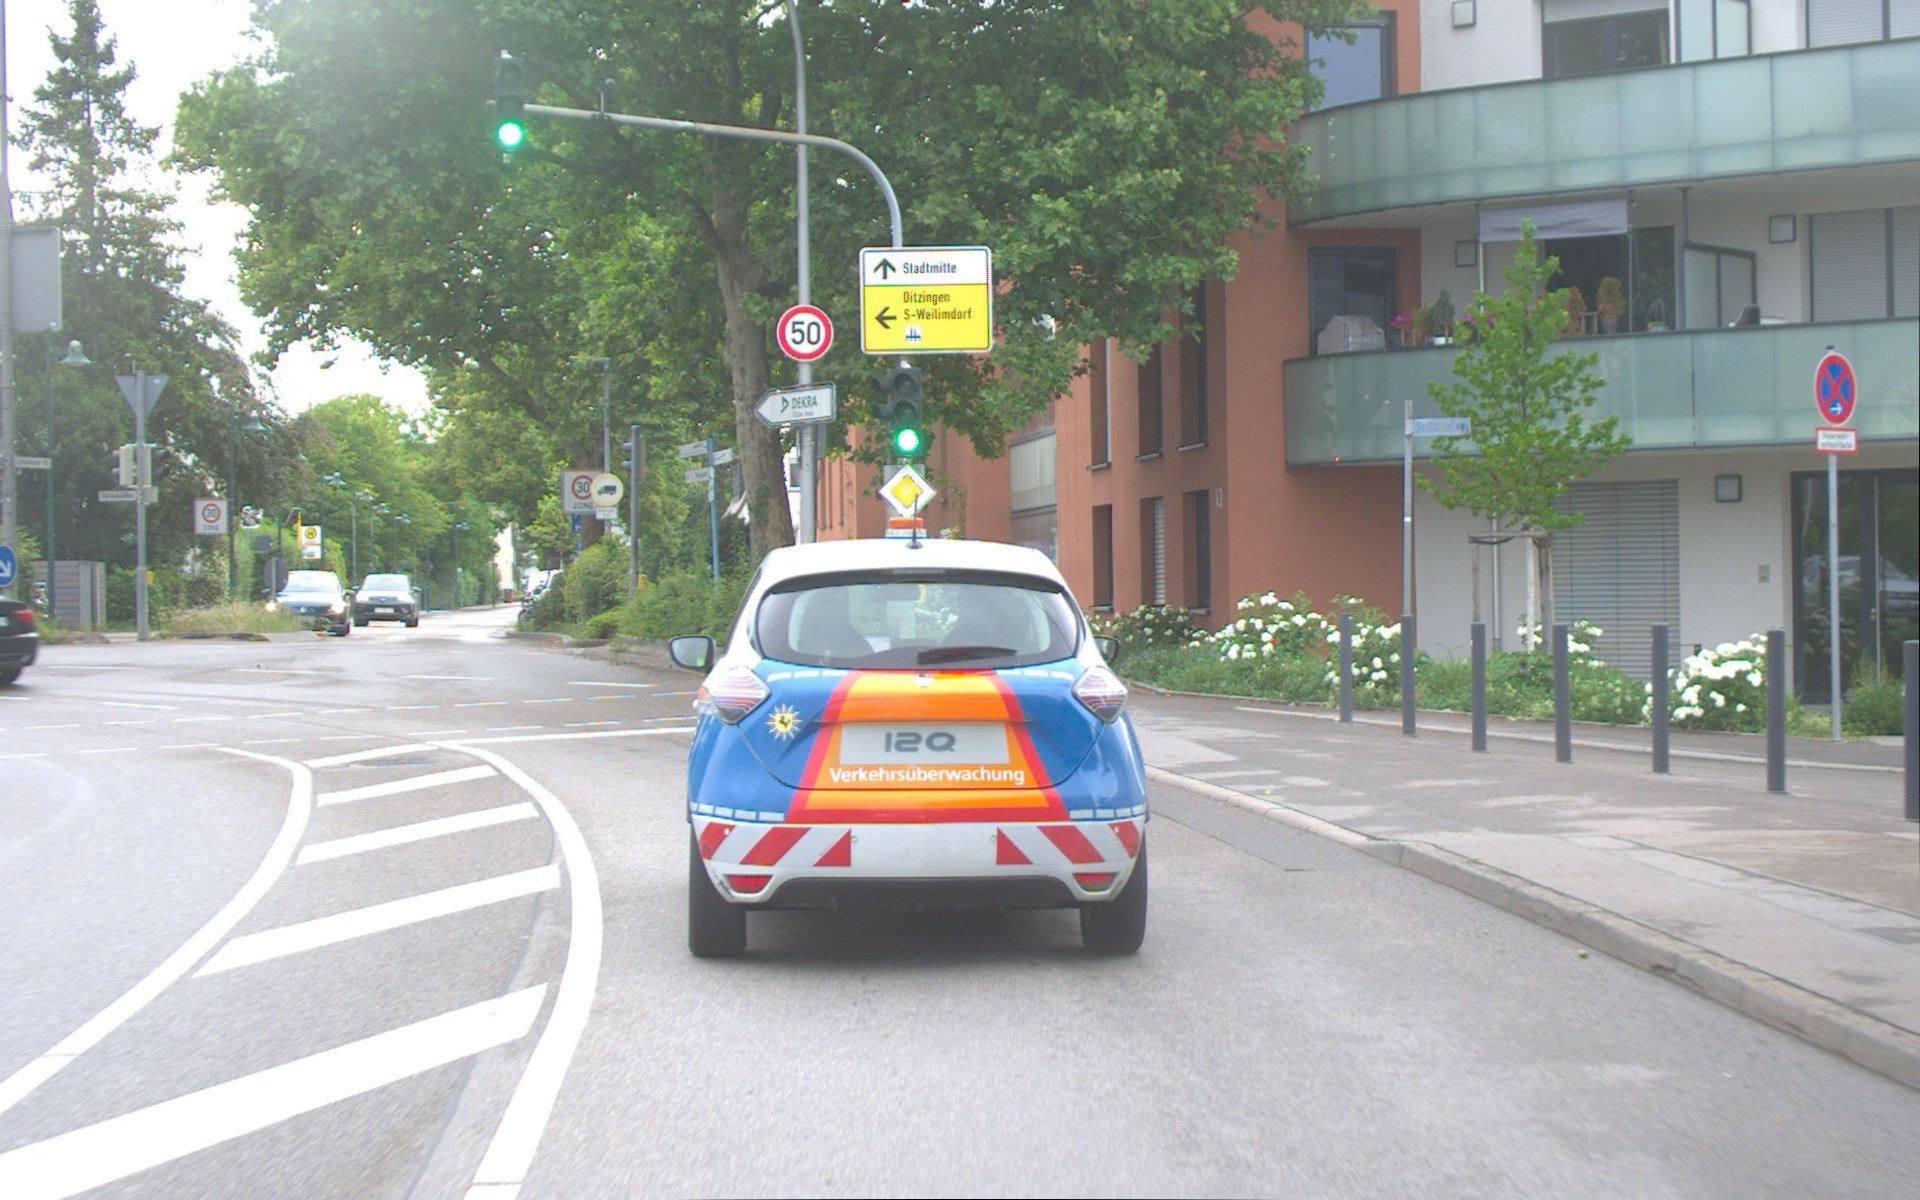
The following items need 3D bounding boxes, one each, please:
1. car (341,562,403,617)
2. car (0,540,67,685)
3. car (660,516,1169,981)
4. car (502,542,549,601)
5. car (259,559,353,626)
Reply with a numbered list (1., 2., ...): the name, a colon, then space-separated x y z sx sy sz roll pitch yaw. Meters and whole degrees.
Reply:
1. car: -18.470 -0.347 108.021 1.877 1.663 3.715 0 1 -9
2. car: -12.200 0.095 39.035 3.996 1.568 1.996 2 2 39
3. car: -0.276 0.466 13.979 1.745 1.575 4.001 -1 2 -3
4. car: -15.465 -1.025 122.448 1.643 2.010 3.716 0 2 -7
5. car: -14.837 -0.167 78.163 1.941 1.447 4.300 1 0 -9
